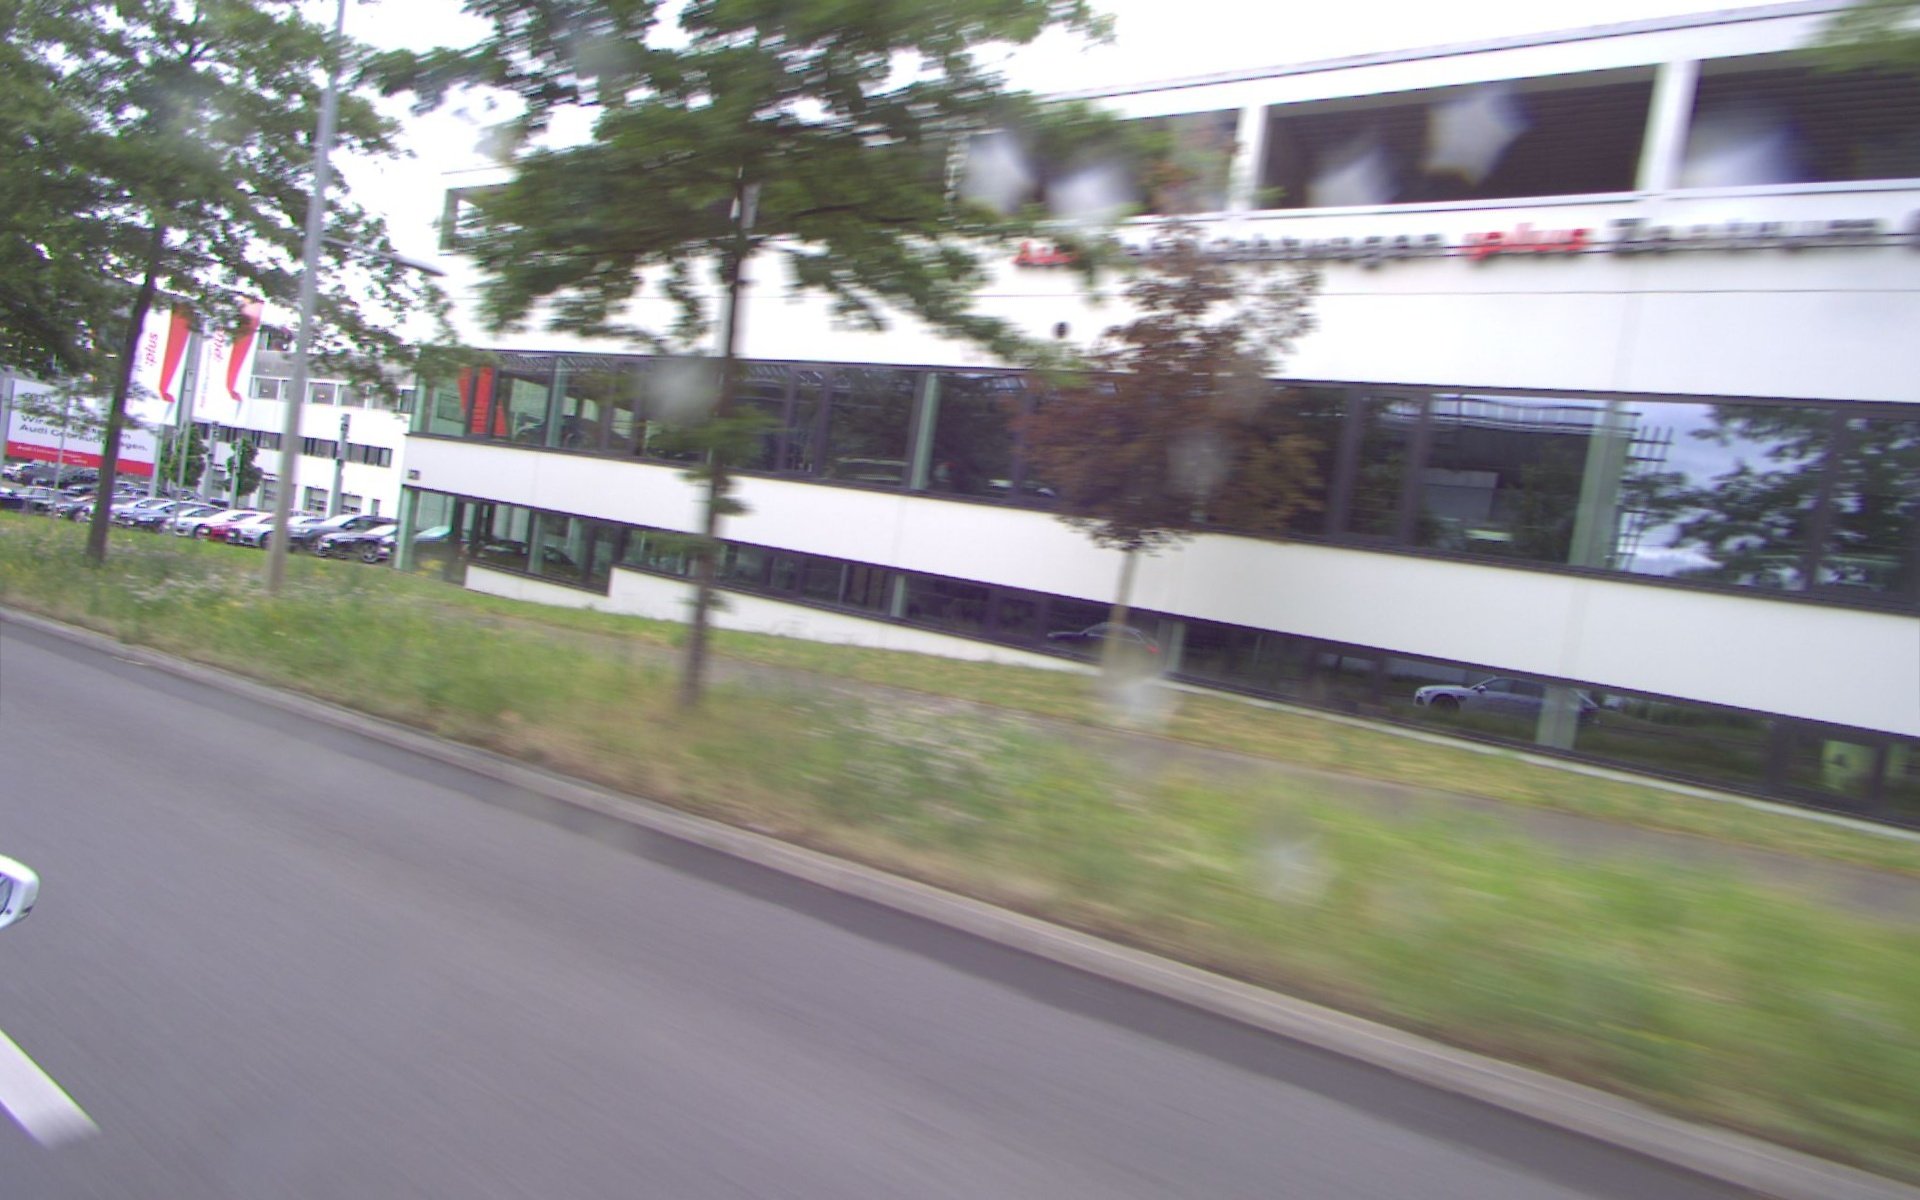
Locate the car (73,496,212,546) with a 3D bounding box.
[{"bbox_3d":[-36.954,-3.540,45.586,1.899,1.570,4.467,6,0,30],"label":"car"}]

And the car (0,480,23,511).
[{"bbox_3d":[-55.932,-6.209,56.645,1.913,1.612,4.119,6,-2,23],"label":"car"}]

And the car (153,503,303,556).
[{"bbox_3d":[-29.638,-2.820,40.897,1.899,1.473,4.468,6,-1,30],"label":"car"}]

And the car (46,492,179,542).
[{"bbox_3d":[-39.377,-3.817,46.834,1.795,1.612,4.285,6,-1,29],"label":"car"}]

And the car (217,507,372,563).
[{"bbox_3d":[-24.740,-2.382,37.553,1.859,1.445,4.402,6,0,31],"label":"car"}]

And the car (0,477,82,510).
[{"bbox_3d":[-69.606,-8.044,76.265,1.795,1.592,4.114,8,-1,30],"label":"car"}]

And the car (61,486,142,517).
[{"bbox_3d":[-62.708,-7.172,73.520,1.664,1.593,4.112,7,-1,30],"label":"car"}]

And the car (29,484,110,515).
[{"bbox_3d":[-66.936,-7.536,75.667,1.664,1.593,4.112,9,0,30],"label":"car"}]

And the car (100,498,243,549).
[{"bbox_3d":[-34.444,-3.316,44.084,1.899,1.547,4.467,6,0,30],"label":"car"}]

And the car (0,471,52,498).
[{"bbox_3d":[-77.440,-9.609,82.375,1.730,1.592,4.114,8,-1,30],"label":"car"}]

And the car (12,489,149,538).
[{"bbox_3d":[-42.119,-4.109,48.287,1.897,1.569,4.472,6,-1,27],"label":"car"}]

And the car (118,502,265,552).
[{"bbox_3d":[-32.223,-3.049,42.330,1.899,1.474,4.466,6,0,30],"label":"car"}]

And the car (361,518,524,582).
[{"bbox_3d":[-17.060,-1.618,33.375,1.899,1.499,4.404,6,-1,30],"label":"car"}]

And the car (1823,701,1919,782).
[{"bbox_3d":[25.734,4.002,26.178,1.680,1.698,4.503,8,3,-21],"label":"car"}]

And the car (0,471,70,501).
[{"bbox_3d":[-73.717,-9.088,79.866,1.664,1.592,4.114,8,-1,30],"label":"car"}]

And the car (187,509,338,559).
[{"bbox_3d":[-27.093,-2.531,39.250,1.899,1.365,4.402,6,0,30],"label":"car"}]

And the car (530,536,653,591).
[{"bbox_3d":[-14.268,-1.369,39.205,1.795,1.569,4.285,6,-1,29],"label":"car"}]

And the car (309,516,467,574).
[{"bbox_3d":[-19.425,-1.830,34.362,1.805,1.395,4.326,6,0,29],"label":"car"}]

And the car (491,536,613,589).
[{"bbox_3d":[-16.299,-1.476,40.395,1.795,1.570,4.284,6,0,29],"label":"car"}]

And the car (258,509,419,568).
[{"bbox_3d":[-22.173,-2.164,36.076,2.006,1.519,4.402,6,0,31],"label":"car"}]

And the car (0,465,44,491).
[{"bbox_3d":[-79.734,-10.349,84.189,1.664,1.592,4.114,8,-1,30],"label":"car"}]
